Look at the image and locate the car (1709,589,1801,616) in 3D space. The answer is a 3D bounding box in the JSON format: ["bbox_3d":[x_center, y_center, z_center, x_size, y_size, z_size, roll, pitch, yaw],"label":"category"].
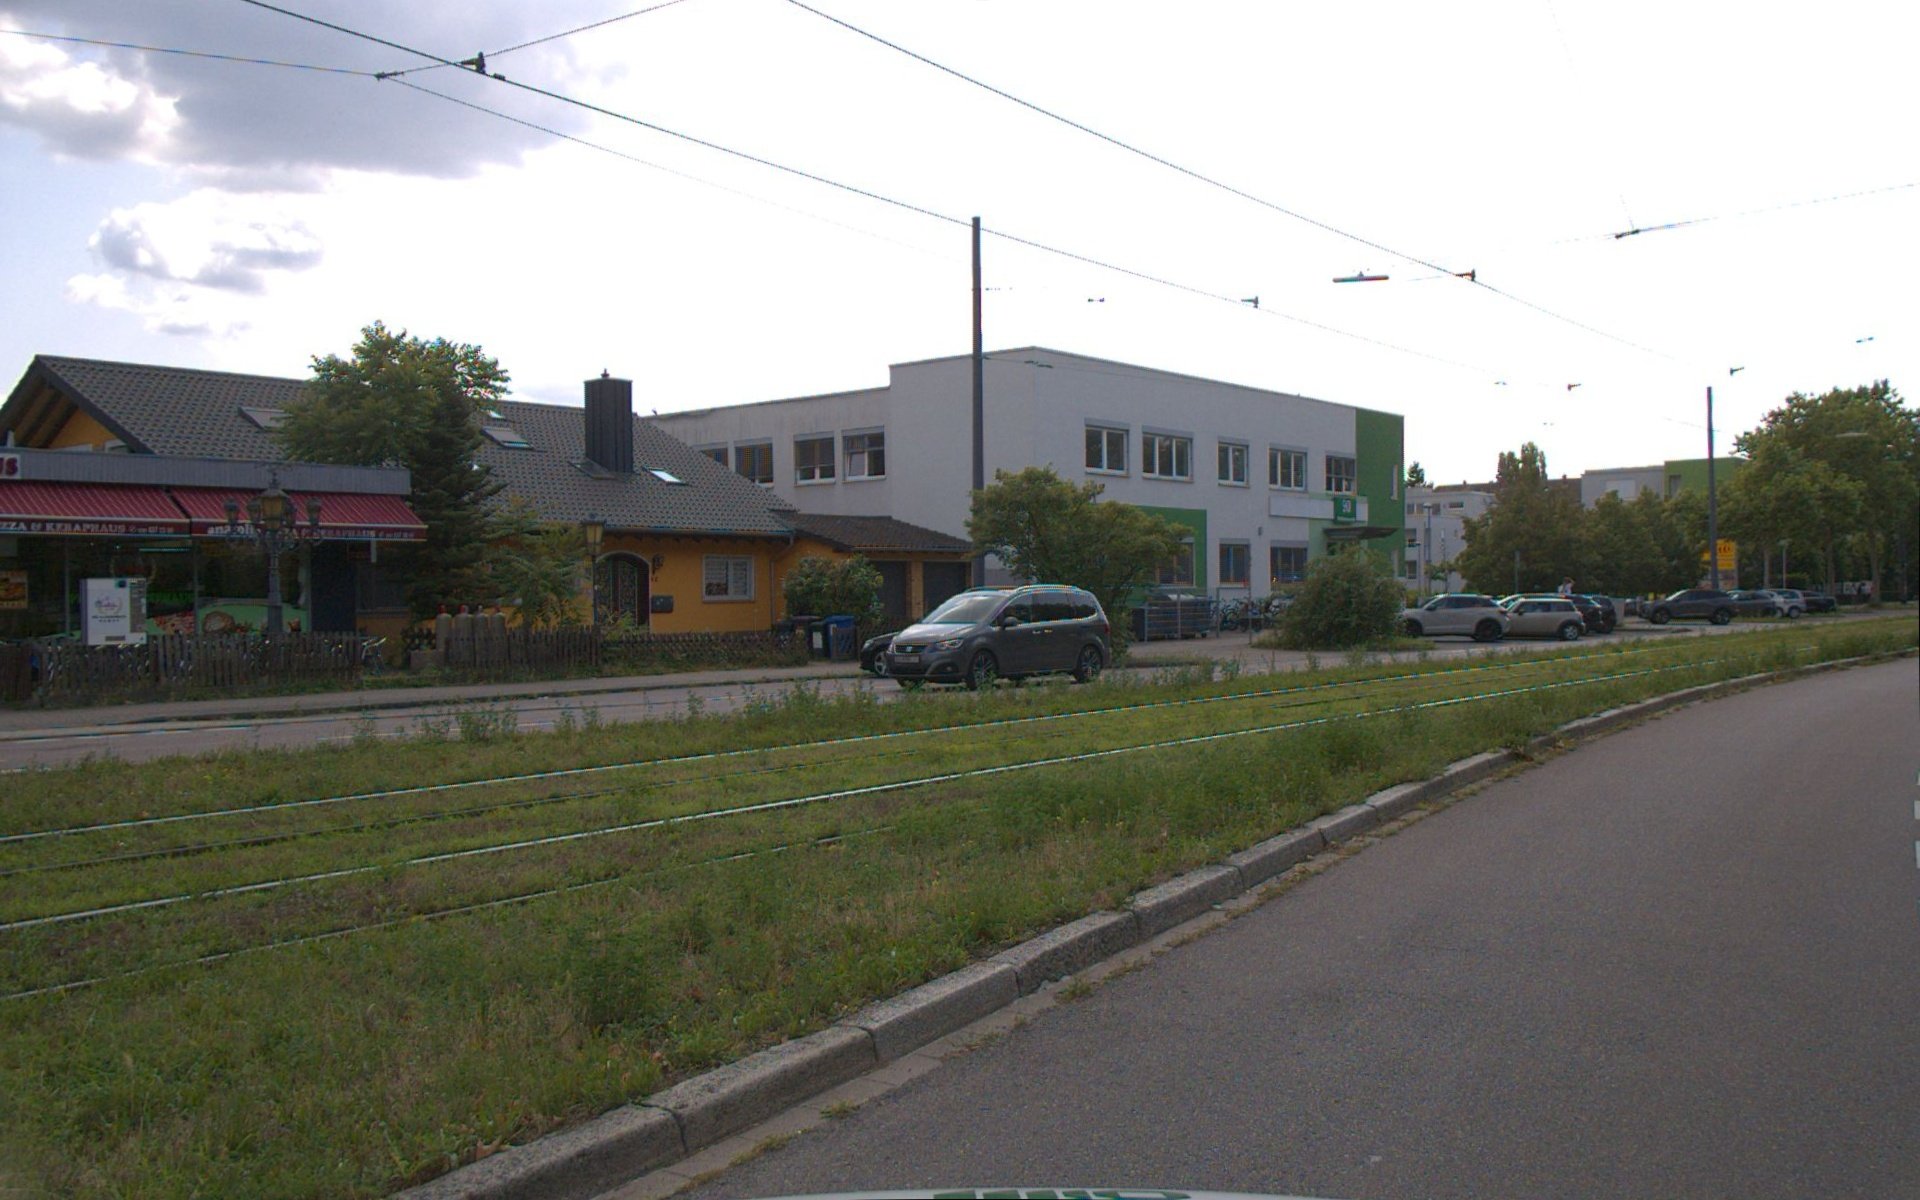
[{"bbox_3d":[42.579,0.129,88.686,4.210,1.387,1.903,-1,0,17],"label":"car"}]

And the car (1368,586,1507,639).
[{"bbox_3d":[15.929,0.410,55.356,4.210,1.658,1.903,-1,0,6],"label":"car"}]

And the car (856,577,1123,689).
[{"bbox_3d":[0.595,0.508,28.583,1.966,1.752,4.709,-1,0,43],"label":"car"}]

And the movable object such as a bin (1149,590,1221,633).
[{"bbox_3d":[7.312,0.377,53.655,1.352,1.350,2.118,-1,0,43],"label":"movable object such as a bin"}]

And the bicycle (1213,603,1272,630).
[{"bbox_3d":[10.551,0.606,61.815,2.122,0.987,0.726,-1,0,44],"label":"bicycle"}]

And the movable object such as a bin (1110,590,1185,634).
[{"bbox_3d":[5.896,0.376,52.000,1.352,1.350,2.104,-1,0,43],"label":"movable object such as a bin"}]

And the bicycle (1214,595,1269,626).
[{"bbox_3d":[10.035,0.373,58.991,1.762,1.100,0.733,-1,0,37],"label":"bicycle"}]

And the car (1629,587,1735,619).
[{"bbox_3d":[32.990,0.152,75.698,4.210,1.387,1.903,-1,0,16],"label":"car"}]

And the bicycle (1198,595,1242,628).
[{"bbox_3d":[9.539,0.434,60.671,0.697,1.186,1.602,-1,0,-34],"label":"bicycle"}]

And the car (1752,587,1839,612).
[{"bbox_3d":[48.053,-0.023,95.189,4.210,1.387,1.903,-1,0,17],"label":"car"}]

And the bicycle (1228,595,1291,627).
[{"bbox_3d":[11.292,0.409,62.375,0.755,1.186,2.313,-1,0,-44],"label":"bicycle"}]

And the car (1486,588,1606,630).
[{"bbox_3d":[21.983,0.334,62.187,4.068,1.530,1.862,0,0,12],"label":"car"}]

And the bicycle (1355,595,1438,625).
[{"bbox_3d":[17.788,0.424,67.420,3.080,1.186,1.138,-1,0,36],"label":"bicycle"}]

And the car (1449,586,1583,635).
[{"bbox_3d":[19.268,0.350,57.490,4.209,1.658,1.904,0,0,11],"label":"car"}]

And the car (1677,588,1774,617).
[{"bbox_3d":[38.892,0.134,84.104,4.210,1.387,1.903,-1,0,17],"label":"car"}]

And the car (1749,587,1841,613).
[{"bbox_3d":[45.912,0.002,91.018,4.210,1.387,1.903,-1,0,17],"label":"car"}]

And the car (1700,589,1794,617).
[{"bbox_3d":[41.137,0.135,86.533,4.210,1.387,1.903,-1,0,17],"label":"car"}]

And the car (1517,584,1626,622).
[{"bbox_3d":[24.941,0.108,67.597,4.069,1.530,1.862,0,0,17],"label":"car"}]

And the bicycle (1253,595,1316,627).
[{"bbox_3d":[12.334,0.423,62.982,0.742,1.186,2.380,-1,0,-43],"label":"bicycle"}]

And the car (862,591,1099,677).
[{"bbox_3d":[0.442,0.700,34.369,4.470,1.608,2.001,-2,0,20],"label":"car"}]

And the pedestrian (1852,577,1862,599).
[{"bbox_3d":[70.603,-0.938,130.168,0.610,1.759,0.643,1,1,39],"label":"pedestrian"}]

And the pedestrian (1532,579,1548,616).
[{"bbox_3d":[26.542,-0.106,75.730,0.585,1.704,0.540,-1,0,31],"label":"pedestrian"}]
